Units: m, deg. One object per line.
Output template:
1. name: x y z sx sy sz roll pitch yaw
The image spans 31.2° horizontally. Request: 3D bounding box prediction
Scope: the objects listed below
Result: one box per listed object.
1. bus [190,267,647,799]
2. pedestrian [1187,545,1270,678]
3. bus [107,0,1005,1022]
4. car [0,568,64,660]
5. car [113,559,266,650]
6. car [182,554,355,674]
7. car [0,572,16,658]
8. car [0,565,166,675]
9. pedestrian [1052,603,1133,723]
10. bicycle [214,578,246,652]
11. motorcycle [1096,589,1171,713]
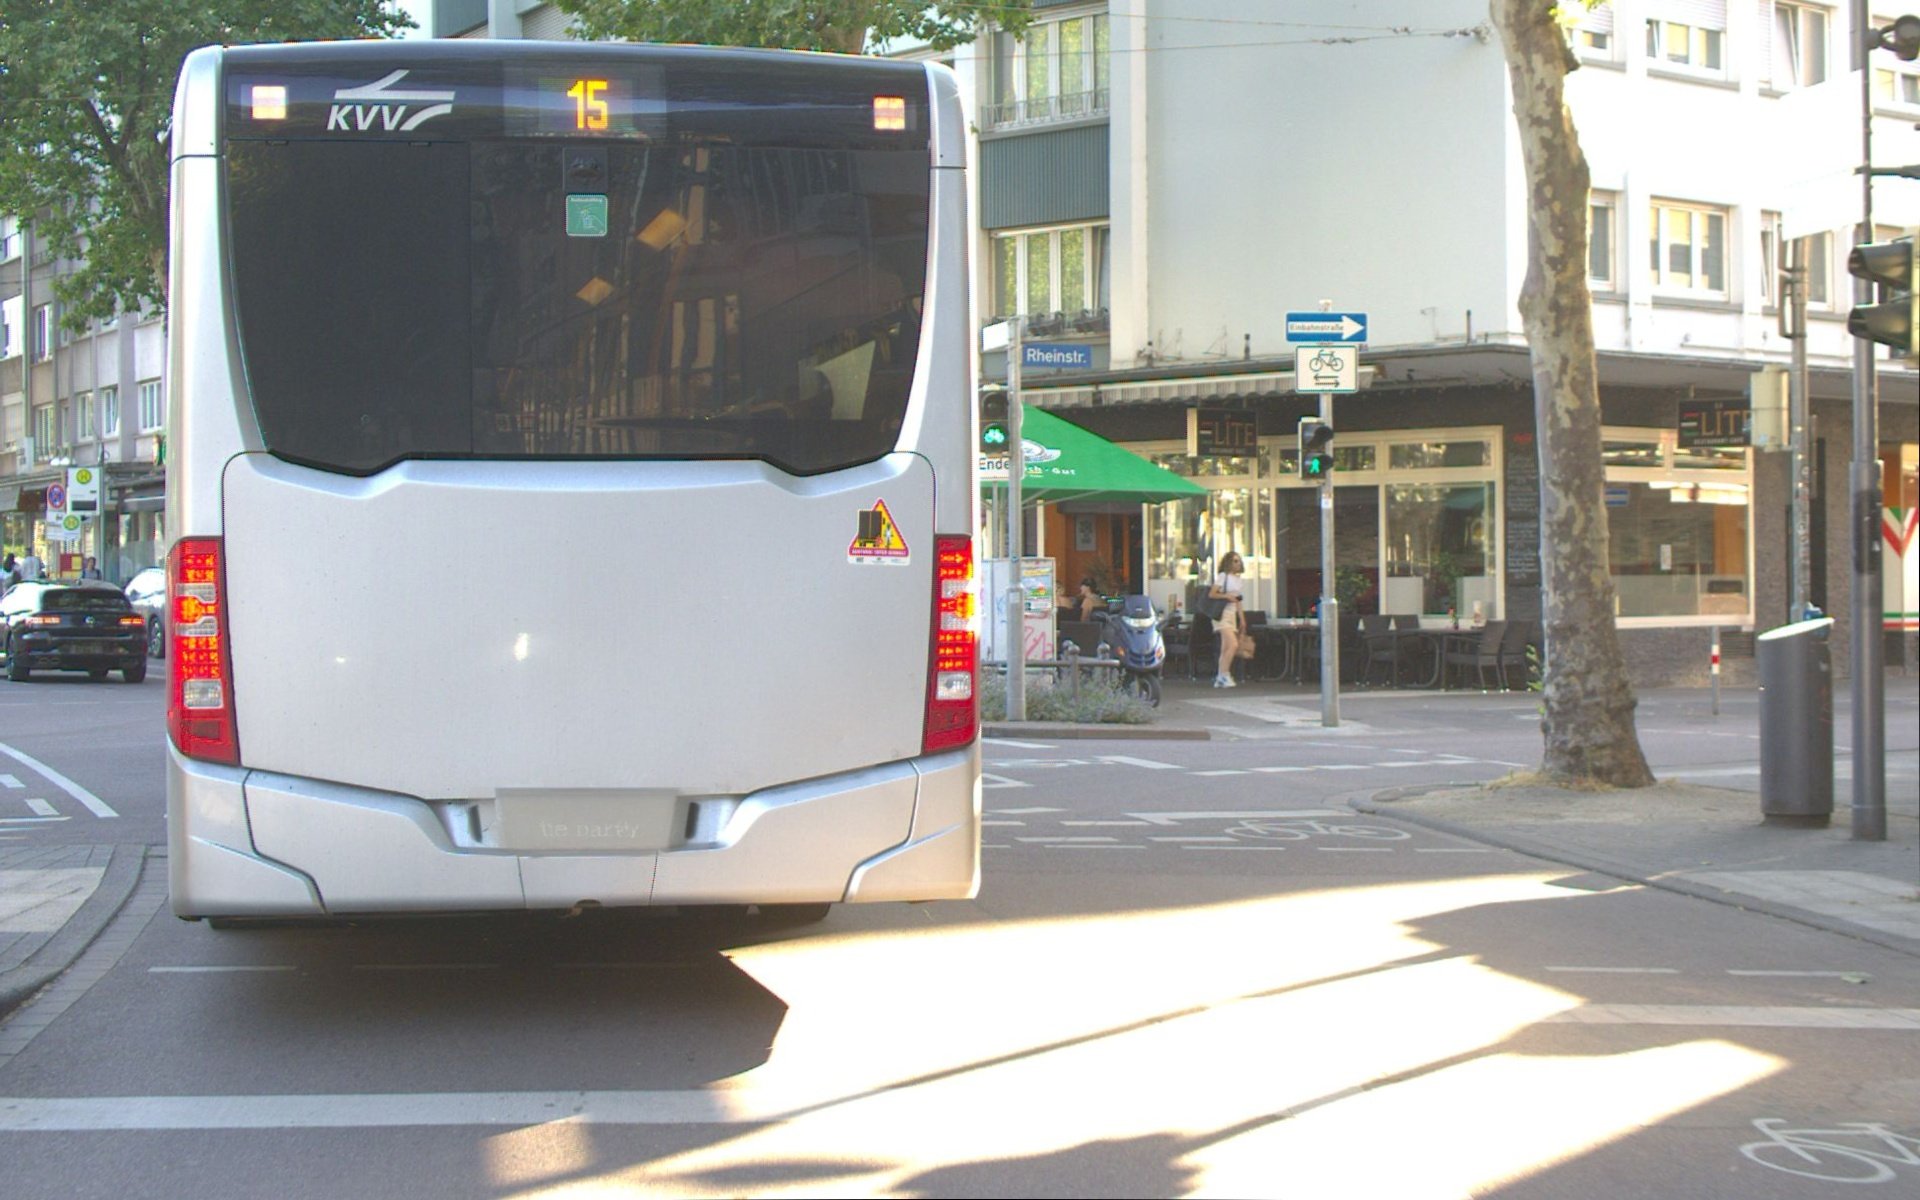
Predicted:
1. bus: -4.256 -0.417 25.237 2.657 3.088 10.219 0 0 -12
2. pedestrian: 3.180 0.134 40.724 0.602 1.543 0.716 1 1 -44
3. bus: -2.141 -0.345 15.258 2.657 3.088 10.218 0 0 -11
4. car: -15.999 0.200 56.414 1.755 1.459 4.001 0 1 -26
5. car: -13.643 0.055 60.767 1.662 1.463 3.413 -4 3 -29
6. car: -9.821 0.170 48.630 1.759 1.622 3.613 0 1 -22
7. car: -17.814 0.250 60.002 1.756 1.459 4.001 0 1 -28
8. car: -12.329 0.245 48.032 1.755 1.459 4.001 0 1 -23
9. pedestrian: 1.411 0.666 36.551 0.550 1.239 0.732 1 1 -25
10. bicycle: -12.192 0.235 57.393 0.507 1.207 2.093 0 1 -12
11. motorcycle: 1.669 0.482 33.257 0.570 1.154 1.461 2 0 -2
